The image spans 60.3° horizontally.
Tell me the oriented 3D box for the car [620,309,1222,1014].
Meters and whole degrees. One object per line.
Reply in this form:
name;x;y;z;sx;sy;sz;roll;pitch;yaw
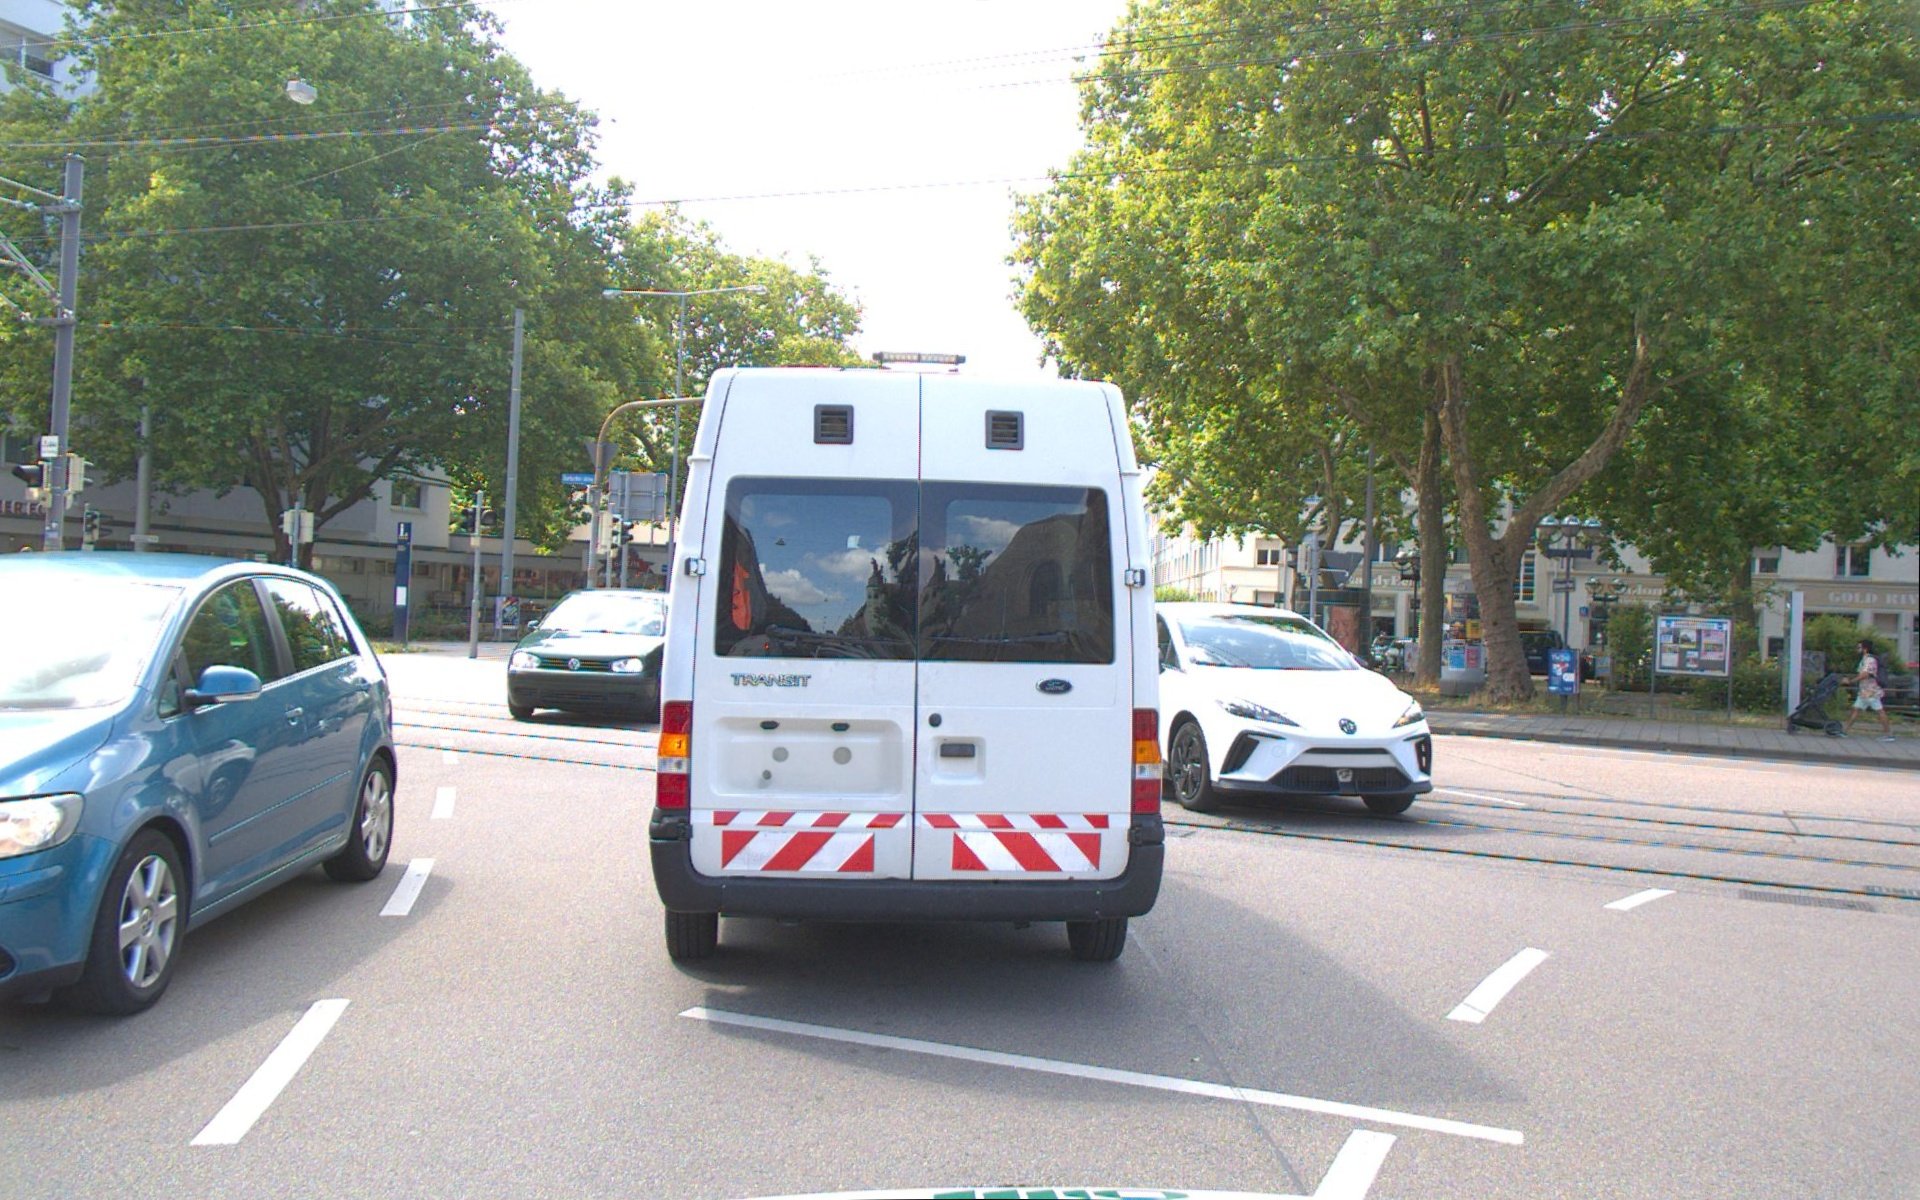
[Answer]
car;-0.342;0.222;8.080;2.007;2.373;4.708;2;0;-6

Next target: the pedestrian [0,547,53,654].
pedestrian;-15.265;0.006;26.945;0.664;1.695;0.622;2;-1;42

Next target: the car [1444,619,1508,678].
car;21.028;1.986;67.288;1.954;2.221;4.255;2;-1;24

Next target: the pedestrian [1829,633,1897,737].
pedestrian;15.071;1.411;27.617;0.902;1.674;0.570;2;-1;25

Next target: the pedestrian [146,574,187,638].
pedestrian;-20.725;0.156;43.189;0.766;1.626;0.535;2;-1;20

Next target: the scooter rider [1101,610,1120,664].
scooter rider;5.173;1.262;56.838;0.515;1.843;0.649;2;-1;-1

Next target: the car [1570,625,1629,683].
car;25.353;2.136;65.491;1.954;2.112;3.998;2;-1;24

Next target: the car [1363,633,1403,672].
car;16.643;2.061;65.042;1.434;1.413;3.069;2;-1;15

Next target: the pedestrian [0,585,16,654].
pedestrian;-15.332;0.305;26.297;0.429;1.082;0.417;2;-1;44

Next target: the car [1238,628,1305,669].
car;13.484;2.095;71.385;1.986;1.628;4.538;2;-1;21

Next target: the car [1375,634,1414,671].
car;18.043;2.178;68.564;1.434;1.413;3.237;2;-1;16

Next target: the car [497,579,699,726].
car;-4.063;0.544;19.106;1.680;1.458;3.815;3;0;-4

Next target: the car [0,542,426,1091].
car;-3.578;0.598;6.650;1.712;1.567;3.929;2;0;-3

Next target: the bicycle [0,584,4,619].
bicycle;-29.098;0.022;48.549;1.712;1.027;0.526;3;-1;-40

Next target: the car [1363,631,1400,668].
car;20.462;2.410;80.275;1.435;1.695;3.067;2;-1;19

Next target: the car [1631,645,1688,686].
car;27.586;2.561;65.190;1.954;1.447;3.998;2;-1;24

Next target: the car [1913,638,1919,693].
car;36.886;2.481;61.413;1.953;2.049;3.999;2;-1;22

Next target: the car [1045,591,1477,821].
car;2.195;0.733;13.296;1.785;1.532;4.114;2;0;-15

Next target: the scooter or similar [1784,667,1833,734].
scooter or similar;14.348;1.700;27.973;0.692;1.074;0.490;2;-1;25

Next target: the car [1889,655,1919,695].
car;40.967;3.212;70.838;1.704;1.666;3.997;2;-1;25

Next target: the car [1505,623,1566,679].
car;23.278;2.071;66.800;1.954;2.112;3.998;2;-1;24

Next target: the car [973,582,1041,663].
car;1.639;0.788;60.153;2.077;2.687;6.326;2;0;-1
